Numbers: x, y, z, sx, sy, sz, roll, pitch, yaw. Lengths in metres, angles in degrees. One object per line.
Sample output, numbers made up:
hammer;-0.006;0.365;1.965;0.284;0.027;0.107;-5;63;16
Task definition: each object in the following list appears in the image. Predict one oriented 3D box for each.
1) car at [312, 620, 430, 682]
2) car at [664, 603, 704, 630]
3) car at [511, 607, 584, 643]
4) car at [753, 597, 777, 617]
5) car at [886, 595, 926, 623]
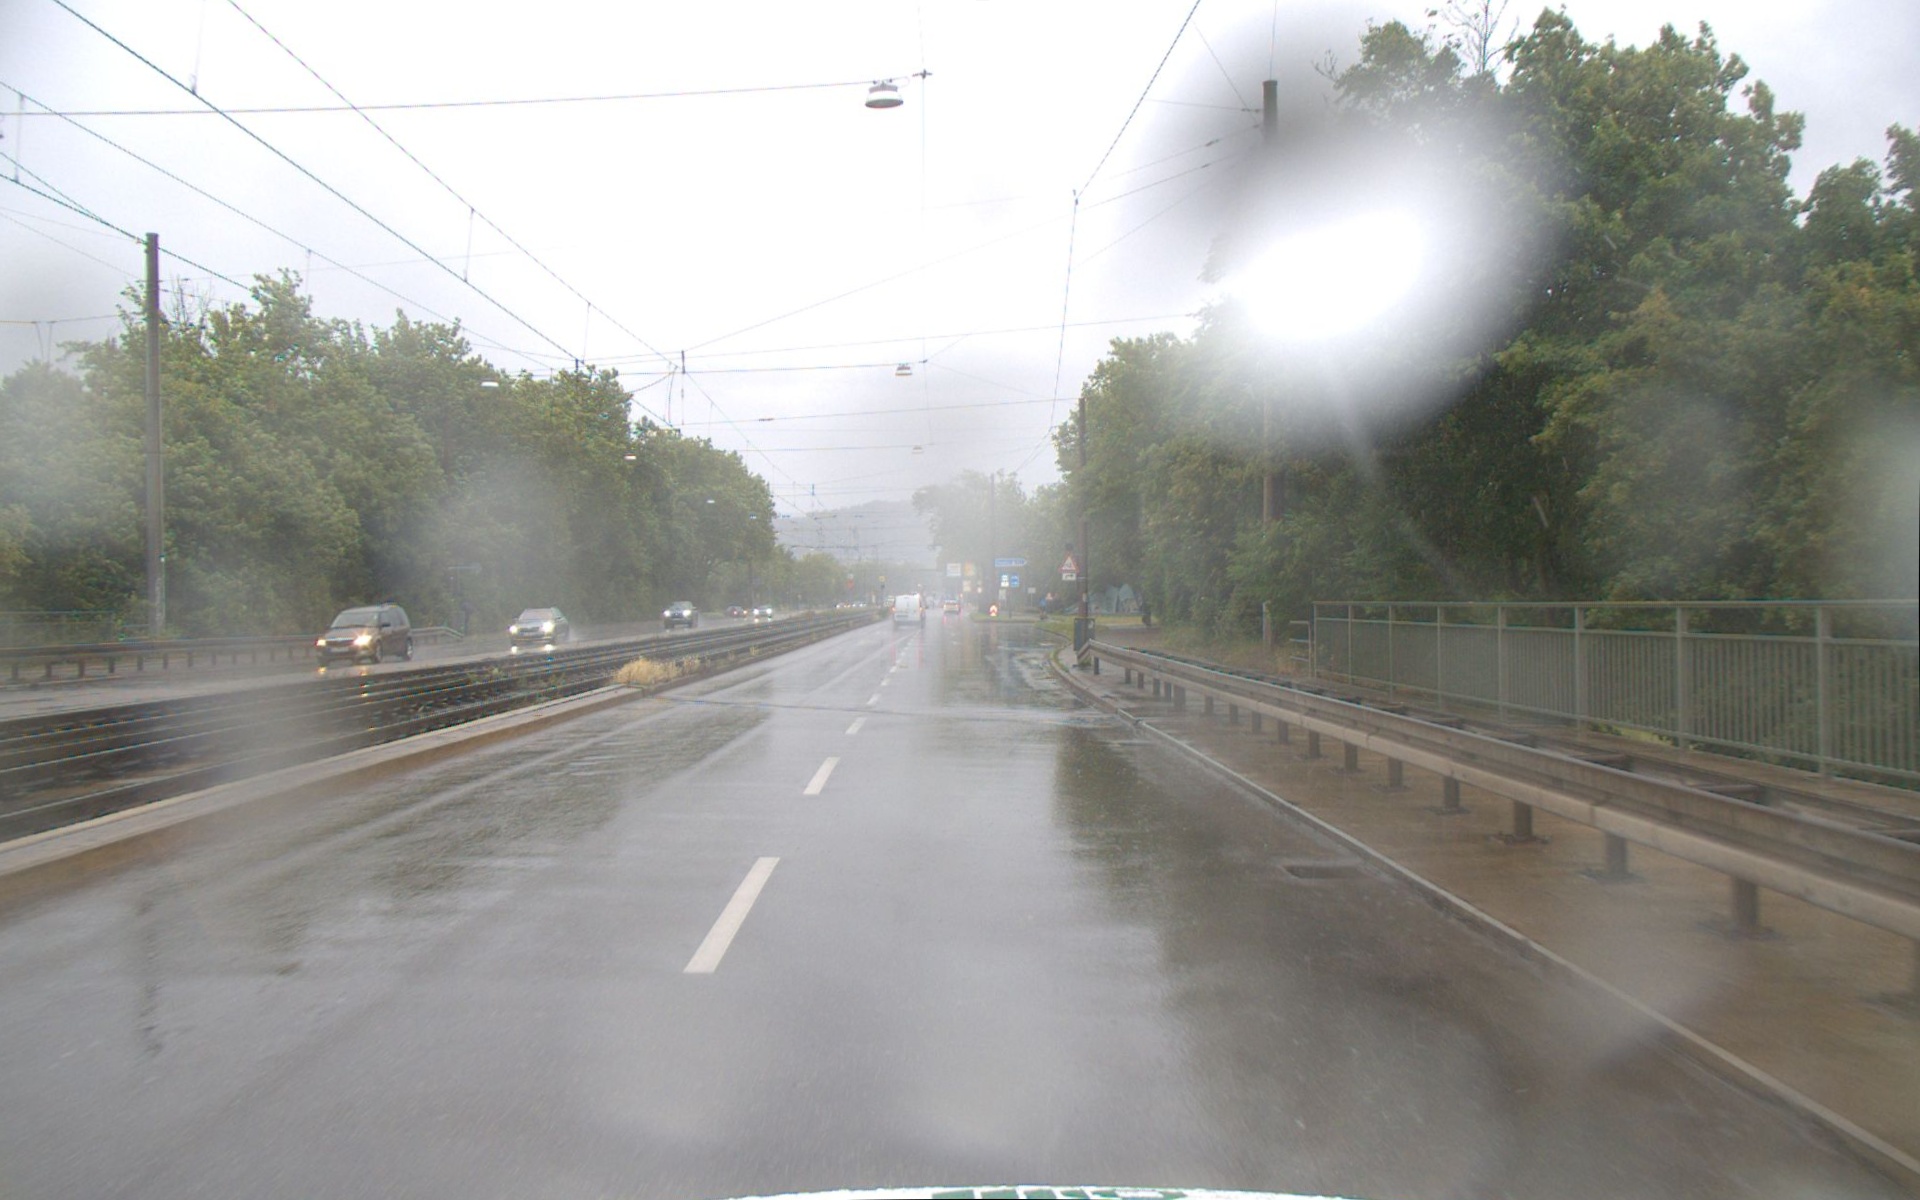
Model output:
car;-16.494;1.397;46.556;1.803;1.601;4.384;0;0;-1
car;-18.018;1.040;108.082;1.953;1.702;4.870;0;0;-2
car;-17.156;1.016;69.052;1.953;1.413;4.851;0;0;-2
car;-19.906;0.686;168.986;1.954;1.813;3.999;4;0;-1
car;-2.939;0.469;90.716;2.035;1.445;3.999;-1;0;-1
